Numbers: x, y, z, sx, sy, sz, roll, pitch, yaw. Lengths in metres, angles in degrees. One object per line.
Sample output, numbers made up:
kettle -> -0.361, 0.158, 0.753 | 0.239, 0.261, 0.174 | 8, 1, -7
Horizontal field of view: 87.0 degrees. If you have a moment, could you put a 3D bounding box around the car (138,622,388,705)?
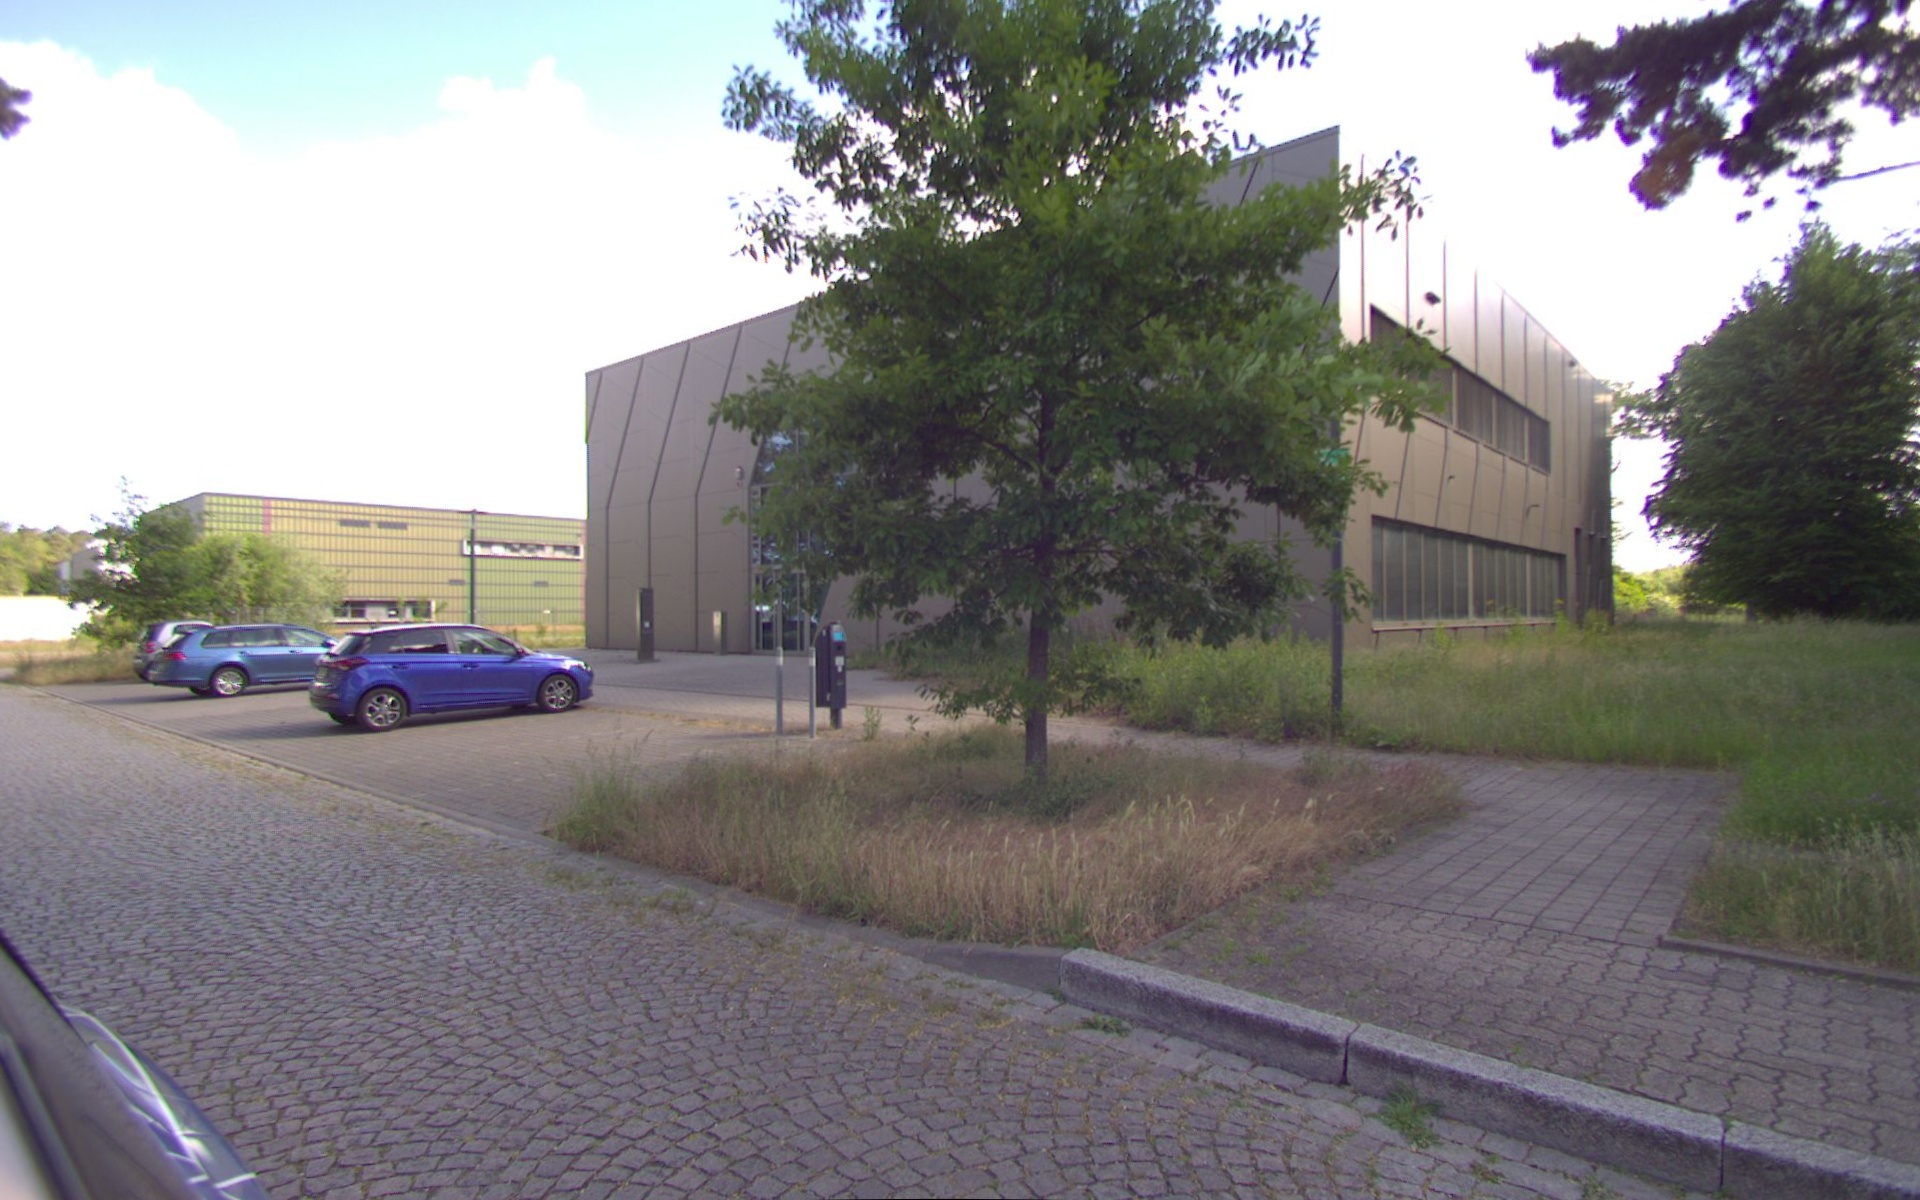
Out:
car -> -14.971, 1.298, 21.923 | 1.733, 1.485, 4.128 | -2, 0, 39

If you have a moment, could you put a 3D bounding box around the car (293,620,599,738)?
car -> -7.859, 1.107, 15.703 | 1.735, 1.479, 3.865 | -2, 0, 44

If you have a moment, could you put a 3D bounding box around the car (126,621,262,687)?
car -> -20.373, 1.399, 26.968 | 1.480, 1.580, 2.619 | -2, 0, 40
